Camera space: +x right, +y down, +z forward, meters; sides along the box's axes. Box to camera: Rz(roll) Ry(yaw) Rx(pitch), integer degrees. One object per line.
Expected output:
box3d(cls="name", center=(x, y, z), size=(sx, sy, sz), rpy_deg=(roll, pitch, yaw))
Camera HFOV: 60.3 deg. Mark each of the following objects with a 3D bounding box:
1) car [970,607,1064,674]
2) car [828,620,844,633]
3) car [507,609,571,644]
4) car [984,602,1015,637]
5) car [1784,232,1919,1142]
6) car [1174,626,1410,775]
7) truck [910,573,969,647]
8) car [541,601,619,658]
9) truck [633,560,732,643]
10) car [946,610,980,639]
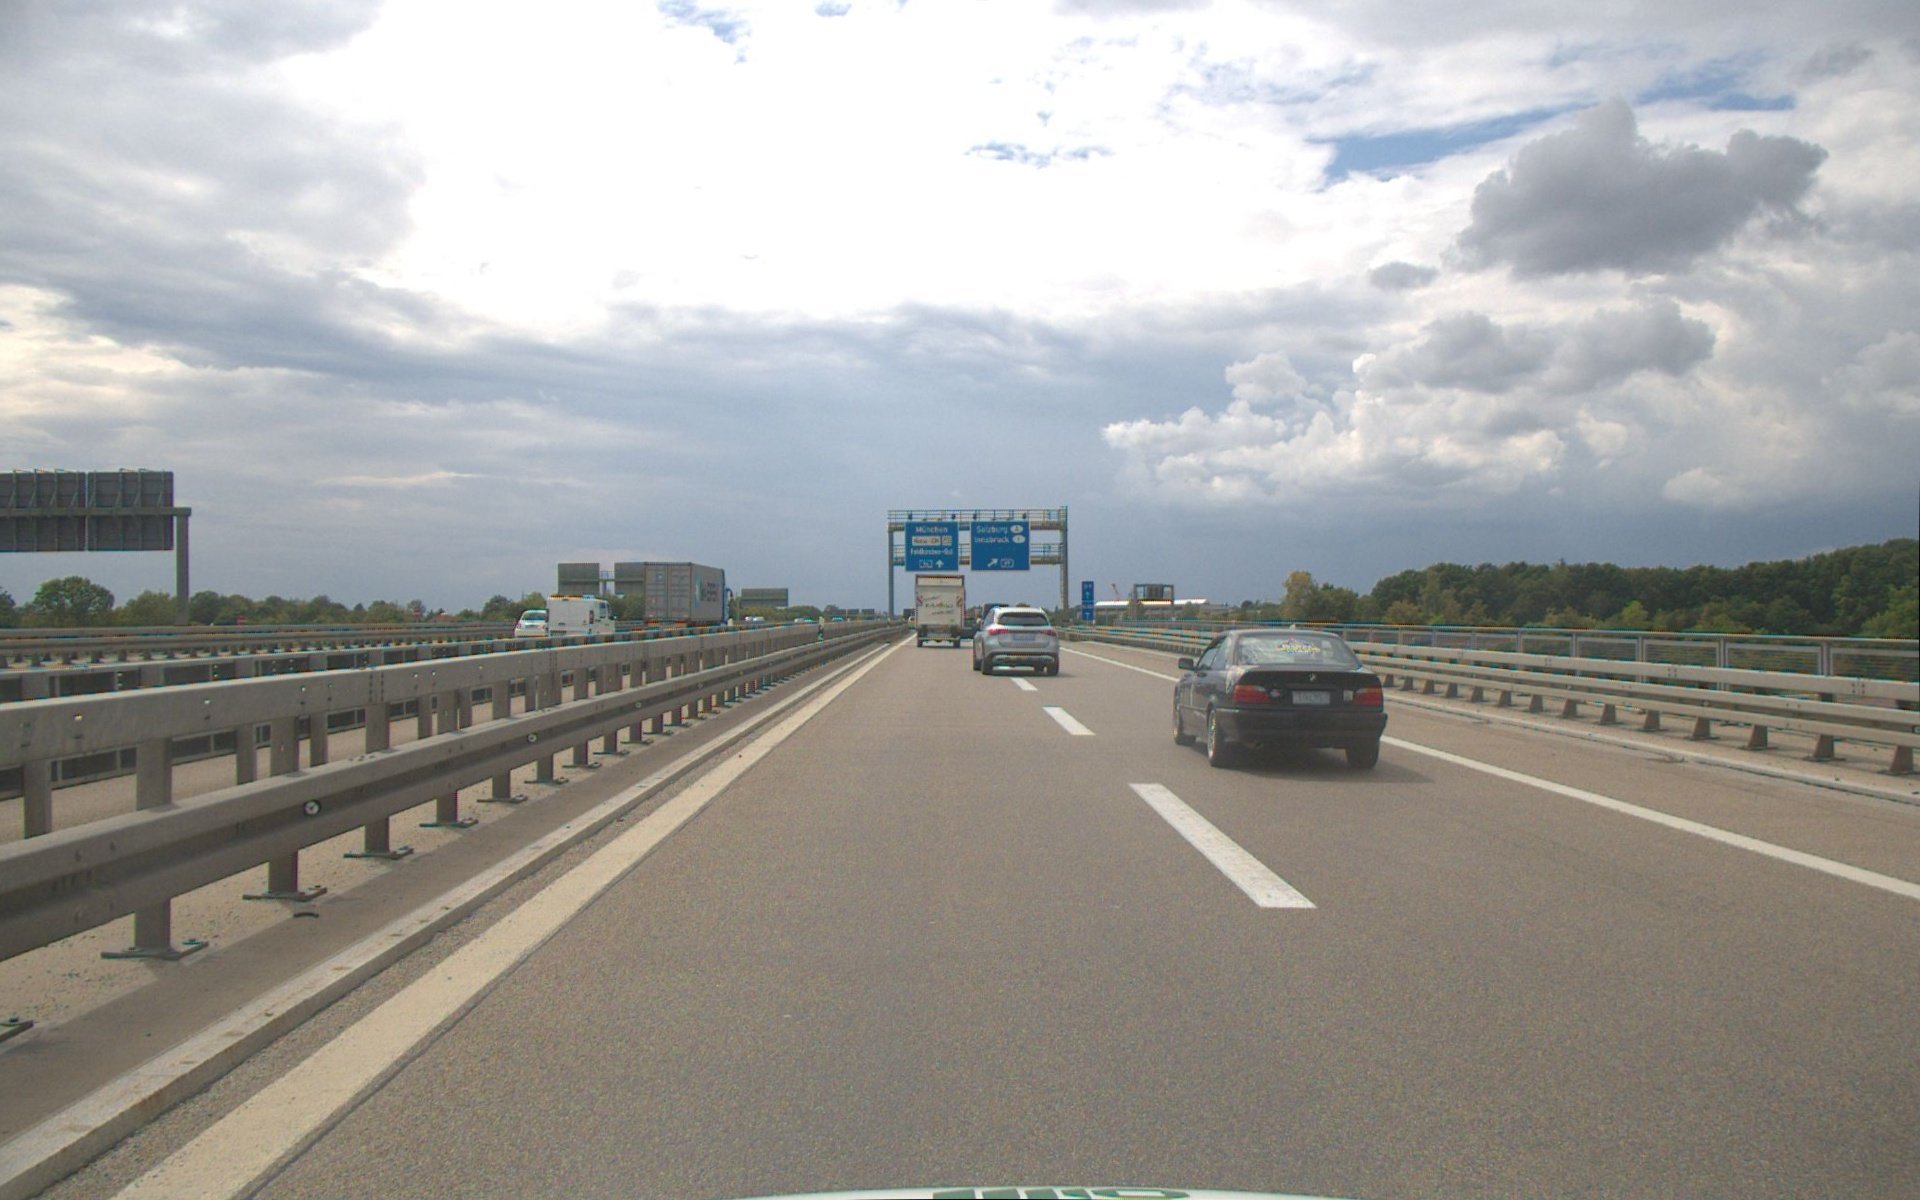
box3d(cls="car", center=(1.363, 0.961, 40.938), size=(1.784, 1.541, 3.995), rpy_deg=(1, 0, -6))
box3d(cls="car", center=(-16.136, 3.448, 214.956), size=(1.790, 1.590, 4.000), rpy_deg=(0, 0, 0))
box3d(cls="car", center=(-18.644, 1.154, 73.388), size=(1.761, 1.444, 4.000), rpy_deg=(1, 0, 1))
box3d(cls="car", center=(2.674, 1.299, 111.858), size=(1.868, 2.301, 4.647), rpy_deg=(1, 0, -1))
box3d(cls="car", center=(3.742, 0.245, 2.194), size=(2.071, 2.497, 6.149), rpy_deg=(1, 0, -2))
box3d(cls="car", center=(3.370, 0.970, 17.570), size=(1.669, 1.303, 4.366), rpy_deg=(1, 0, 1))
box3d(cls="truck", center=(-0.956, 0.550, 76.085), size=(2.517, 3.181, 8.631), rpy_deg=(1, -1, -1))
box3d(cls="car", center=(-14.342, 1.083, 62.641), size=(1.953, 2.049, 4.373), rpy_deg=(1, 0, -1))
box3d(cls="truck", center=(-14.953, 0.088, 90.463), size=(3.119, 4.089, 16.068), rpy_deg=(1, 0, -2))
box3d(cls="car", center=(0.151, 1.420, 96.519), size=(1.846, 1.579, 3.999), rpy_deg=(1, 0, -1))
